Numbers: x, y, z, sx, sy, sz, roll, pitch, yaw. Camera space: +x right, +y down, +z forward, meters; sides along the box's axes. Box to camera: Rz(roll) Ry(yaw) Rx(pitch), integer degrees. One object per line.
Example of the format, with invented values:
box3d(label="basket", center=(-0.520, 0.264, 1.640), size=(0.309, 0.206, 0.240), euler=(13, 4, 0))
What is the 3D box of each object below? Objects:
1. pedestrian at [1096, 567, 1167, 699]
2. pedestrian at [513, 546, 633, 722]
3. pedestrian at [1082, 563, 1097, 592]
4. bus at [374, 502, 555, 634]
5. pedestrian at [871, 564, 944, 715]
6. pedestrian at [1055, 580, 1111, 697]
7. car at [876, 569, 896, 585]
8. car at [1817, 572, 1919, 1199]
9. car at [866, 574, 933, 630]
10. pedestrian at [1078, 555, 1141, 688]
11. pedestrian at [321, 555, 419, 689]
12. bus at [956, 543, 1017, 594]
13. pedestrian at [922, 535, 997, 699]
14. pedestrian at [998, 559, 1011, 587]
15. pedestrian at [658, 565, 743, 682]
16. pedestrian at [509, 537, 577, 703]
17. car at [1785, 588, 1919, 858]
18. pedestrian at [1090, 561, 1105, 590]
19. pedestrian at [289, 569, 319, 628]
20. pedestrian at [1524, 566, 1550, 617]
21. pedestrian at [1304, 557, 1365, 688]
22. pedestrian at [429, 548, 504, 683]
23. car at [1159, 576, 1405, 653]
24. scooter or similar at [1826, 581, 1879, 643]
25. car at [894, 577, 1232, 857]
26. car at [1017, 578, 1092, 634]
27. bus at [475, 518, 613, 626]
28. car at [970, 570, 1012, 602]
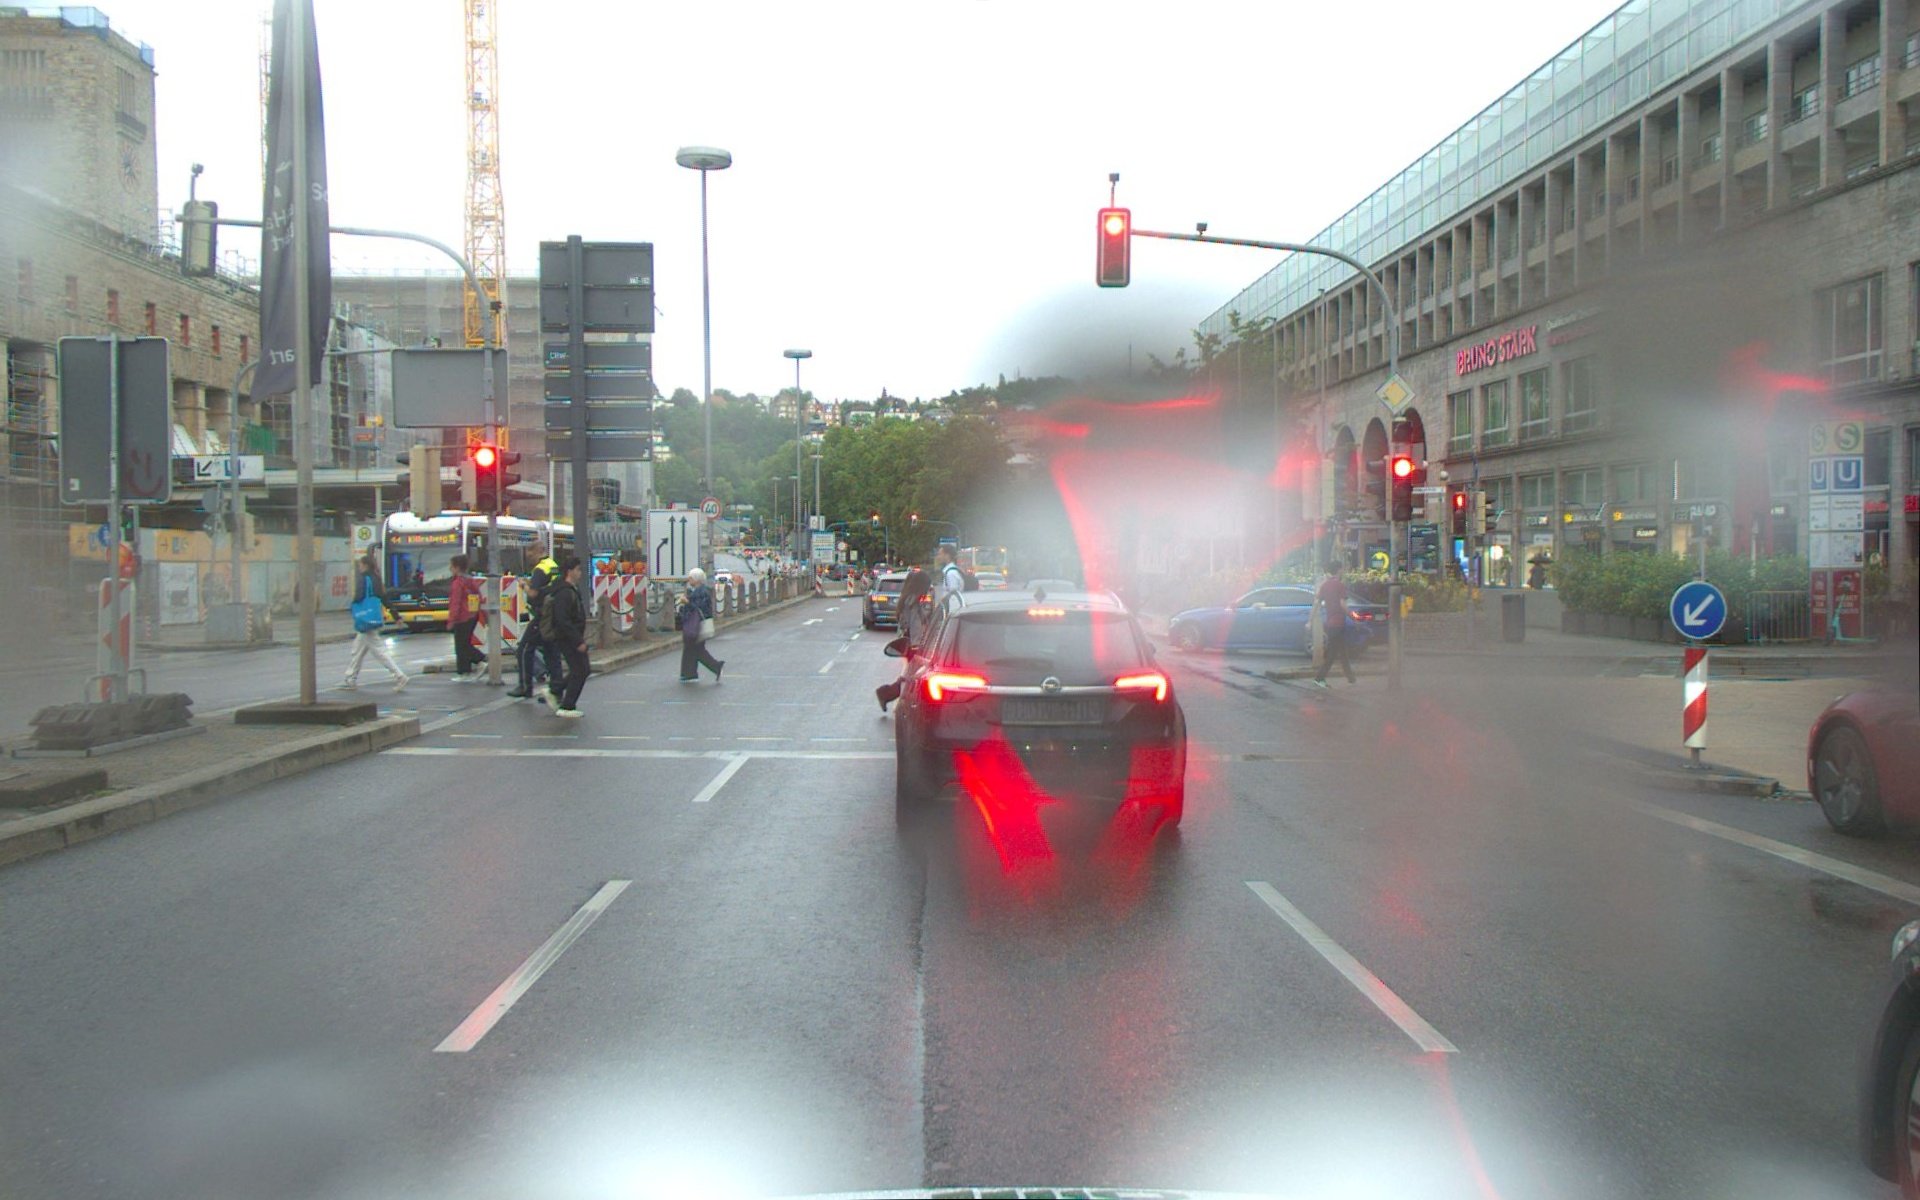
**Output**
box3d(label="pedestrian", center=(2.169, 0.411, 21.005), size=(0.783, 1.636, 0.619), euler=(1, 0, -4))
box3d(label="pedestrian", center=(-4.088, 0.348, 17.511), size=(1.074, 1.782, 0.653), euler=(-2, 0, -4))
box3d(label="pedestrian", center=(7.748, -1.362, 98.957), size=(0.748, 1.720, 0.824), euler=(1, 0, -5))
box3d(label="bus", center=(-15.182, -0.925, 51.586), size=(2.614, 3.665, 10.237), euler=(1, 0, -1))
box3d(label="pedestrian", center=(-0.603, 0.438, 18.695), size=(0.778, 1.654, 0.899), euler=(1, 0, -4))
box3d(label="pedestrian", center=(1.593, 0.497, 21.475), size=(0.665, 1.500, 0.366), euler=(1, 0, -6))
box3d(label="car", center=(-6.883, -2.096, 153.434), size=(1.723, 1.422, 3.563), euler=(1, 0, -1))
box3d(label="car", center=(3.059, 0.722, 1.844), size=(1.757, 1.528, 4.628), euler=(1, 0, -1))
box3d(label="car", center=(-1.638, 0.039, 44.998), size=(1.718, 1.422, 4.536), euler=(1, 0, -2))
box3d(label="pedestrian", center=(1.994, 0.290, 22.108), size=(0.740, 1.747, 0.466), euler=(1, 0, -4))
box3d(label="pedestrian", center=(-7.168, 0.261, 20.134), size=(0.897, 1.591, 0.899), euler=(1, 0, -4))
box3d(label="bus", center=(1.855, -2.261, 124.351), size=(4.088, 3.529, 14.652), euler=(1, 0, -1))
box3d(label="pedestrian", center=(-0.013, 0.201, 19.704), size=(0.784, 1.923, 0.619), euler=(1, 0, -9))
box3d(label="pedestrian", center=(4.003, -2.428, 148.751), size=(1.174, 2.478, 1.228), euler=(1, 0, 0))
box3d(label="pedestrian", center=(-3.626, 0.318, 23.118), size=(0.869, 1.588, 0.774), euler=(1, 0, -44))
box3d(label="pedestrian", center=(-4.817, 0.222, 19.140), size=(0.566, 1.868, 0.820), euler=(1, 0, -1))
box3d(label="car", center=(6.316, 0.706, 8.478), size=(1.836, 1.512, 4.525), euler=(1, 0, -1))
box3d(label="pedestrian", center=(8.115, -1.441, 97.816), size=(0.748, 1.720, 0.824), euler=(1, 0, -5))
box3d(label="pedestrian", center=(-21.452, -0.056, 54.057), size=(0.648, 1.887, 0.798), euler=(-1, 0, -1))
box3d(label="pedestrian", center=(23.443, -0.345, 67.235), size=(0.747, 2.049, 0.825), euler=(1, 0, -1))
box3d(label="pedestrian", center=(5.201, 0.301, 22.970), size=(0.560, 1.783, 0.676), euler=(1, 0, 42))
box3d(label="pedestrian", center=(-6.541, 0.198, 21.946), size=(0.783, 1.747, 0.619), euler=(-2, 0, -4))
box3d(label="car", center=(6.404, 0.258, 33.151), size=(4.557, 1.422, 1.751), euler=(1, 0, 37))
box3d(label="scooter or similar", center=(17.867, 0.237, 33.122), size=(0.285, 1.210, 1.014), euler=(1, 0, -19))
box3d(label="car", center=(0.529, 0.636, 11.078), size=(1.836, 1.512, 3.999), euler=(1, 0, -1))
box3d(label="car", center=(2.523, 0.144, 45.105), size=(1.717, 1.422, 4.401), euler=(1, 0, -1))
box3d(label="bus", center=(-15.322, -0.972, 61.770), size=(2.614, 3.665, 10.210), euler=(1, 0, -1))
box3d(label="car", center=(1.384, -0.634, 75.720), size=(1.808, 1.422, 3.563), euler=(1, 0, -1))
